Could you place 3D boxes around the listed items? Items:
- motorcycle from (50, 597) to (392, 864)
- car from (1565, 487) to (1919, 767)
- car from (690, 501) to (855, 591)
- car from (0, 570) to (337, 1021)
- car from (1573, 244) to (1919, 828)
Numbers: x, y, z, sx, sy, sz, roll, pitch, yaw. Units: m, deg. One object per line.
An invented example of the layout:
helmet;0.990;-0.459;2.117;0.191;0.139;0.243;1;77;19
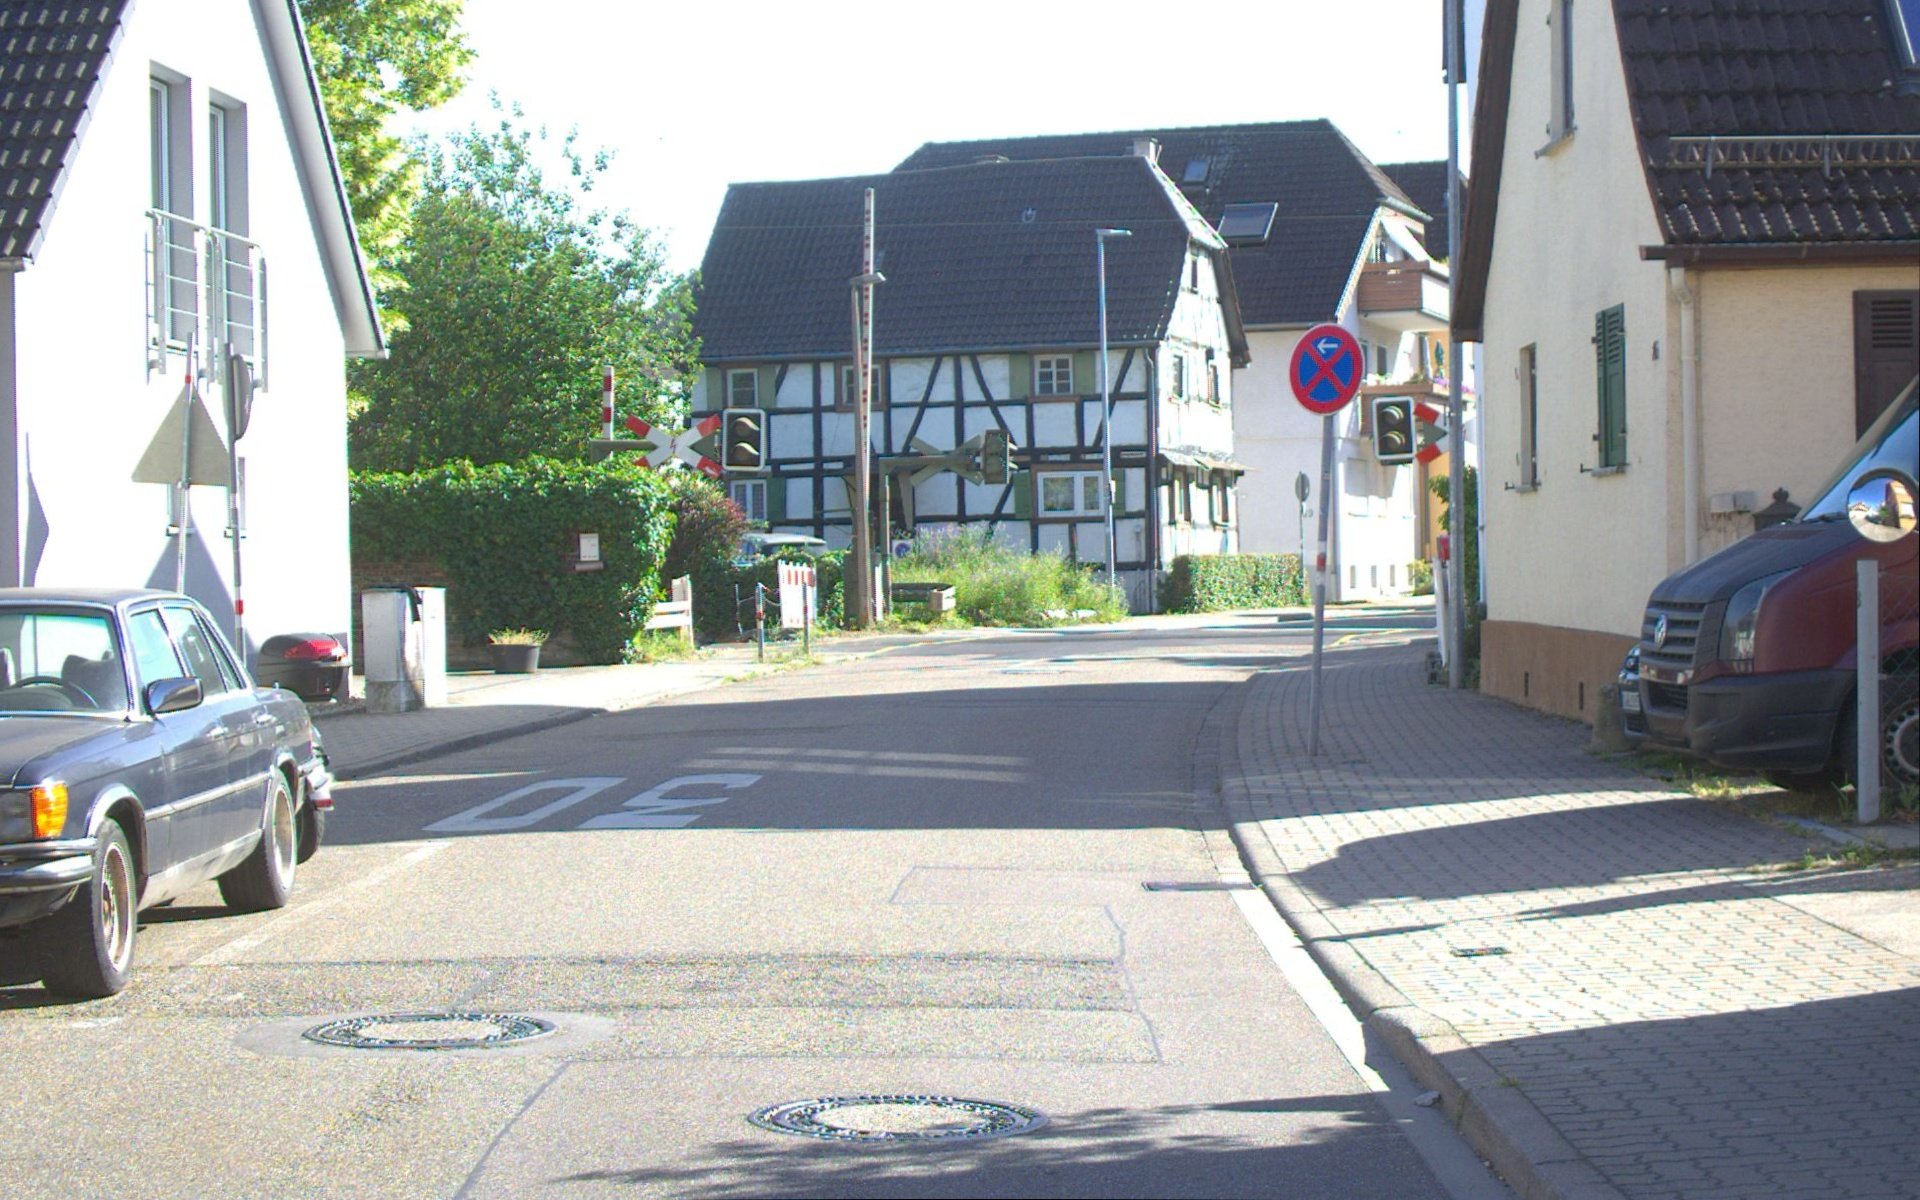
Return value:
motorcycle;-3.674;0.614;16.986;1.993;1.227;0.625;0;2;44
car;5.930;0.083;20.078;4.374;1.482;1.840;-3;0;-1
car;-3.432;-0.967;62.182;1.683;1.559;4.001;1;0;-23
car;-3.798;0.626;13.225;1.844;1.401;5.037;-2;0;0
car;6.191;-0.403;16.991;5.802;2.646;1.968;-3;0;-4
